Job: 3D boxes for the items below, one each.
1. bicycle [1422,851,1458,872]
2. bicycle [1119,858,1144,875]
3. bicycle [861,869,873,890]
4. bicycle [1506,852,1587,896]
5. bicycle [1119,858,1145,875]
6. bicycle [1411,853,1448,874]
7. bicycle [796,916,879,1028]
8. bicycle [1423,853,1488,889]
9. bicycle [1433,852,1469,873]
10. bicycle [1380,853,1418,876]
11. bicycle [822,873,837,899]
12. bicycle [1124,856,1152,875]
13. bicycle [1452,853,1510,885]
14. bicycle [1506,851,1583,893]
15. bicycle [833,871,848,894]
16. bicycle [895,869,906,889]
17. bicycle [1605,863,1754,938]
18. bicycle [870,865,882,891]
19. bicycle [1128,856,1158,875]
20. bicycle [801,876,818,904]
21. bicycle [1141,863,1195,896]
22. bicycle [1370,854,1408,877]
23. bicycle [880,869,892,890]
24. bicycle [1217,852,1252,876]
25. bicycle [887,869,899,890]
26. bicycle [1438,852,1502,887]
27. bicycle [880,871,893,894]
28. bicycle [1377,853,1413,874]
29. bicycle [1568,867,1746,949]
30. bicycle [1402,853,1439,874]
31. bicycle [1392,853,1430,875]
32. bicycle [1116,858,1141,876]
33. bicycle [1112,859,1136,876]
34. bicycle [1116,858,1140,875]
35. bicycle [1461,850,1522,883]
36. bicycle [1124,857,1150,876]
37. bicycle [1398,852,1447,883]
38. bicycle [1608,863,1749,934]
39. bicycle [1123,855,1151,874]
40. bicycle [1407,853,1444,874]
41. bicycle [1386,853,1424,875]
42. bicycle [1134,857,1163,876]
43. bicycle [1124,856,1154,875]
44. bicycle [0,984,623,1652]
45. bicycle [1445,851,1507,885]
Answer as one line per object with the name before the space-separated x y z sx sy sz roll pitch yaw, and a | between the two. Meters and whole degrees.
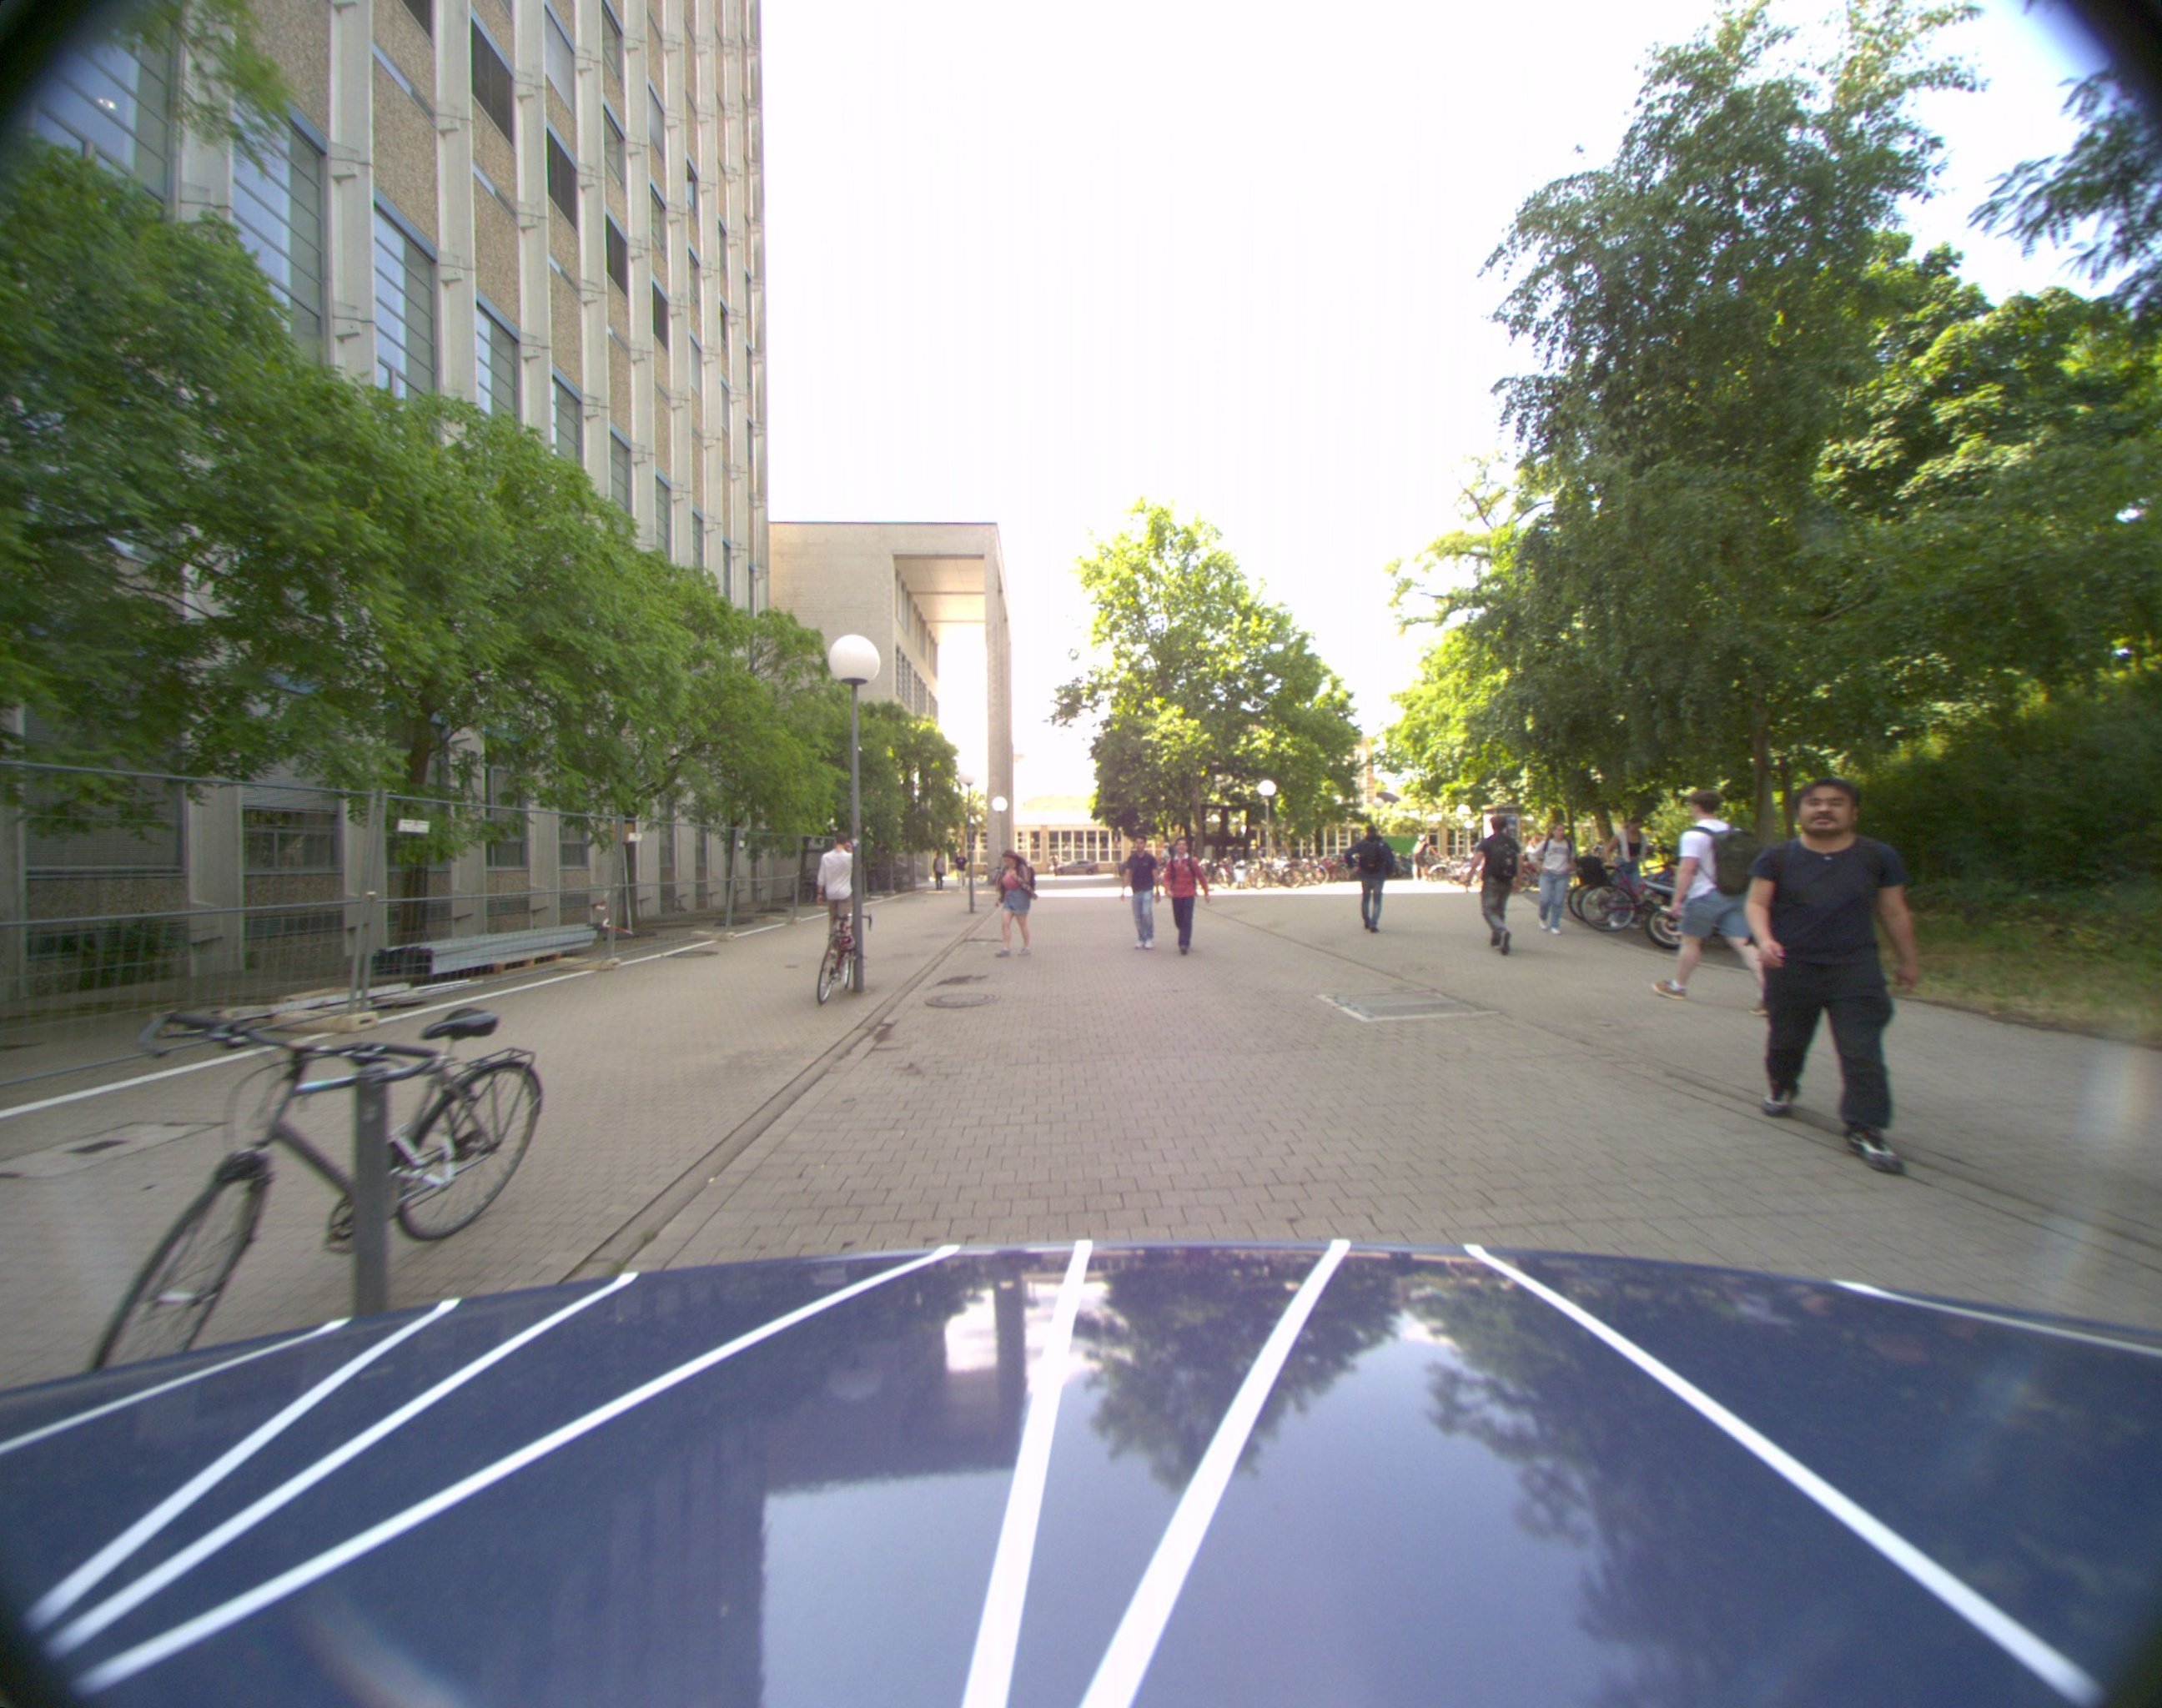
bicycle | 19.093 0.402 40.441 0.475 1.077 1.695 -2 1 -41
bicycle | 3.299 0.806 49.824 1.628 1.101 0.497 -1 1 3
bicycle | -9.904 1.179 35.184 0.291 0.900 1.447 -1 0 -5
bicycle | 12.185 0.531 19.953 1.773 1.104 0.475 -1 1 27
bicycle | 3.285 0.800 49.102 1.628 1.101 0.691 -1 1 3
bicycle | 18.224 0.493 39.716 0.475 1.077 1.695 -2 1 -41
bicycle | -2.583 1.214 8.212 0.396 0.930 1.731 1 0 -2
bicycle | 11.962 0.543 24.305 1.773 1.104 0.475 -1 1 42
bicycle | 19.924 0.455 40.950 0.475 1.077 1.695 -2 1 -41
bicycle | 15.557 0.523 37.189 0.475 1.077 1.695 -2 1 -41
bicycle | -9.417 1.170 28.502 0.291 0.900 1.803 -1 0 -10
bicycle | 3.456 0.725 46.423 1.629 1.101 0.496 -1 1 -7
bicycle | 14.203 0.521 26.985 1.773 1.104 0.475 -1 1 36
bicycle | 12.710 0.499 20.893 1.773 1.104 0.475 -1 1 27
bicycle | -9.908 1.179 31.371 0.291 0.900 1.447 -1 0 -5
bicycle | -8.338 1.142 35.091 0.291 0.900 1.447 -1 0 -5
bicycle | 9.029 0.682 11.524 0.475 1.041 1.695 -4 1 -43
bicycle | -9.089 1.044 33.710 0.291 1.122 1.447 -1 0 -5
bicycle | 3.697 0.706 45.471 1.724 1.101 0.719 -1 1 9
bicycle | -9.417 1.240 26.365 0.291 0.900 1.617 -1 0 -10
bicycle | 2.897 0.852 25.298 1.696 1.077 0.605 -1 1 16
bicycle | 15.030 0.543 37.098 0.475 1.077 1.695 -2 1 -41
bicycle | -9.033 1.163 35.210 0.291 0.900 1.447 -1 0 -5
bicycle | 7.724 0.491 38.278 0.577 1.193 1.695 -2 1 -42
bicycle | -8.676 1.162 35.087 0.291 0.900 1.447 -1 0 -5
bicycle | 12.800 0.496 25.034 1.773 1.104 0.475 -1 1 42
bicycle | -8.104 1.165 31.668 0.291 0.900 1.447 -1 0 -5
bicycle | 16.328 0.498 39.564 0.475 1.077 1.695 -2 1 -41
bicycle | 8.042 0.728 10.684 0.543 1.041 1.903 -2 0 -43
bicycle | 17.370 0.489 38.924 0.475 1.077 1.695 -2 1 -41
bicycle | 16.581 0.494 38.161 0.475 1.077 1.695 -2 1 -41
bicycle | 3.200 0.867 50.939 1.628 1.101 0.629 -1 1 2
bicycle | 2.956 0.908 52.065 1.628 1.101 0.497 -1 1 3
bicycle | 3.177 0.870 51.502 1.628 1.101 0.497 -1 1 3
bicycle | 14.009 0.436 25.974 1.773 1.104 0.475 -1 1 36
bicycle | 3.567 0.786 48.328 1.629 1.144 0.497 -1 1 -2
bicycle | 12.960 0.501 28.811 1.846 1.104 0.473 -2 1 -18
bicycle | 9.420 0.671 12.024 0.475 1.041 1.695 -2 1 -43
bicycle | 3.491 0.653 47.554 1.629 1.101 0.644 -1 1 -7
bicycle | 17.856 0.491 39.406 0.475 1.077 1.695 -2 1 -41
bicycle | 16.103 0.491 37.803 0.475 1.077 1.695 -2 1 -41
bicycle | 3.904 0.719 43.974 1.627 1.101 0.563 -1 1 12
bicycle | 3.564 0.713 46.923 1.785 1.155 0.496 -1 1 -7
bicycle | -2.342 1.120 2.448 0.710 1.086 1.748 -1 0 -2
bicycle | 13.212 0.462 25.411 1.773 1.104 0.475 -1 1 36
